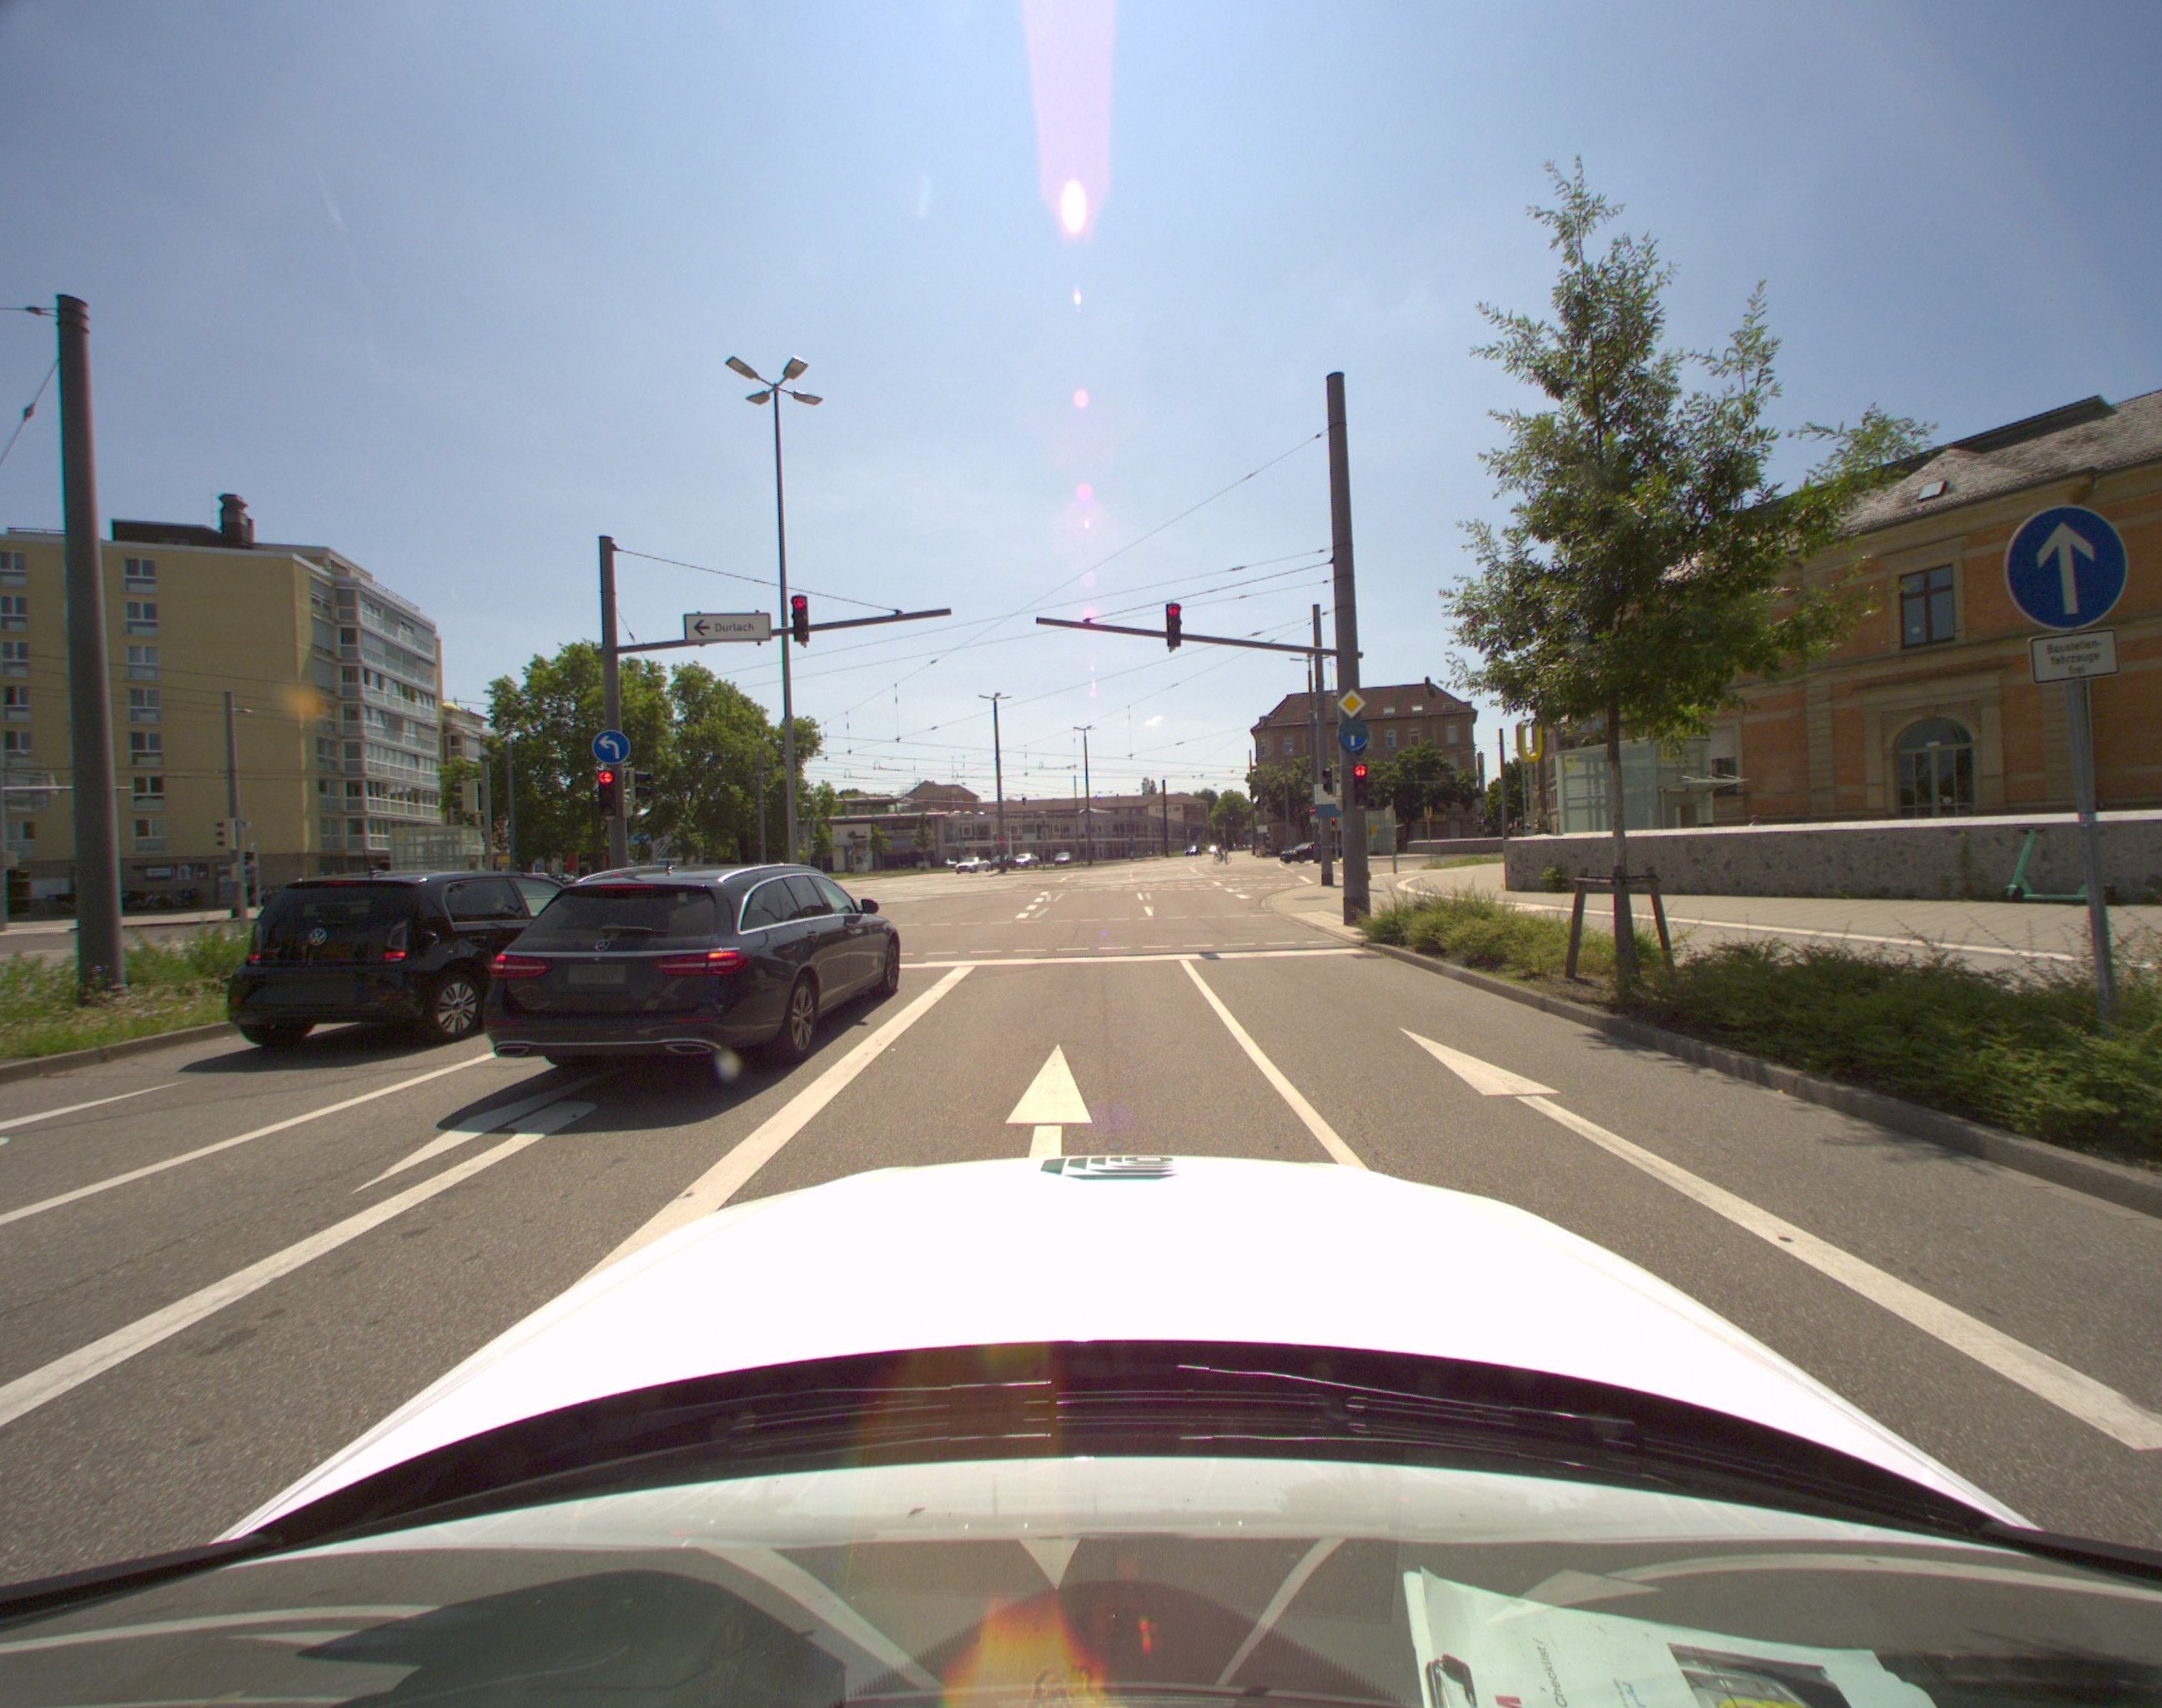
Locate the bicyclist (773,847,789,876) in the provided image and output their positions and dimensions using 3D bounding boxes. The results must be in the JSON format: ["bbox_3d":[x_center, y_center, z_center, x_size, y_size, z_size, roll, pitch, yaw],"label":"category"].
[{"bbox_3d":[-19.985,0.492,54.337,0.761,1.937,0.660,-1,2,-1],"label":"bicyclist"}]

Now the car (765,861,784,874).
[{"bbox_3d":[-40.762,1.791,108.354,1.422,1.508,3.432,-2,2,-5],"label":"car"}]

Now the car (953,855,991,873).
[{"bbox_3d":[-9.465,0.871,71.250,1.607,1.390,4.143,-2,0,18],"label":"car"}]

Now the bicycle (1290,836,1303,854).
[{"bbox_3d":[22.965,-0.966,86.720,0.610,1.788,3.182,-1,2,1],"label":"bicycle"}]

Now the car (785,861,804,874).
[{"bbox_3d":[-37.997,1.770,108.101,1.507,1.418,3.415,-1,2,-5],"label":"car"}]

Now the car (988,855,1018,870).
[{"bbox_3d":[-7.386,0.795,77.266,1.526,1.278,3.556,-1,2,18],"label":"car"}]

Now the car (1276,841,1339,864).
[{"bbox_3d":[16.212,-0.153,58.349,4.114,1.450,1.687,-2,2,-19],"label":"car"}]

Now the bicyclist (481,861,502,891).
[{"bbox_3d":[-39.404,1.485,54.439,0.845,1.965,0.625,-2,2,-7],"label":"bicyclist"}]

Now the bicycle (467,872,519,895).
[{"bbox_3d":[-39.297,1.959,54.473,2.772,1.385,0.669,-2,2,-7],"label":"bicycle"}]

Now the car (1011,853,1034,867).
[{"bbox_3d":[-5.932,0.579,83.273,1.421,1.285,3.273,-1,2,13],"label":"car"}]

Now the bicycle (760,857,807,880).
[{"bbox_3d":[-19.820,0.950,54.353,2.818,1.463,0.633,-1,2,-2],"label":"bicycle"}]

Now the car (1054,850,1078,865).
[{"bbox_3d":[-1.632,0.354,89.508,1.558,1.427,3.631,-1,2,18],"label":"car"}]

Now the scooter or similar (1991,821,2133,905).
[{"bbox_3d":[14.488,0.109,12.065,0.398,1.167,1.281,-2,2,-22],"label":"scooter or similar"}]

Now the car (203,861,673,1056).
[{"bbox_3d":[-6.081,0.841,8.436,1.615,1.463,4.000,-2,0,1],"label":"car"}]

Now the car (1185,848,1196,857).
[{"bbox_3d":[18.156,-0.249,134.655,1.520,1.458,3.564,-1,2,12],"label":"car"}]

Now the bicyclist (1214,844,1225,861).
[{"bbox_3d":[12.140,-0.155,71.366,0.734,1.479,0.652,-2,2,-18],"label":"bicyclist"}]

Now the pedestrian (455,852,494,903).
[{"bbox_3d":[-35.827,1.360,48.135,1.211,2.937,1.335,-1,2,-3],"label":"pedestrian"}]

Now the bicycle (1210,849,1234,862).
[{"bbox_3d":[12.371,0.111,71.428,2.166,1.107,0.454,-2,2,-18],"label":"bicycle"}]

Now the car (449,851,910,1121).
[{"bbox_3d":[-2.892,0.794,7.179,1.711,1.556,4.586,-2,0,0],"label":"car"}]
